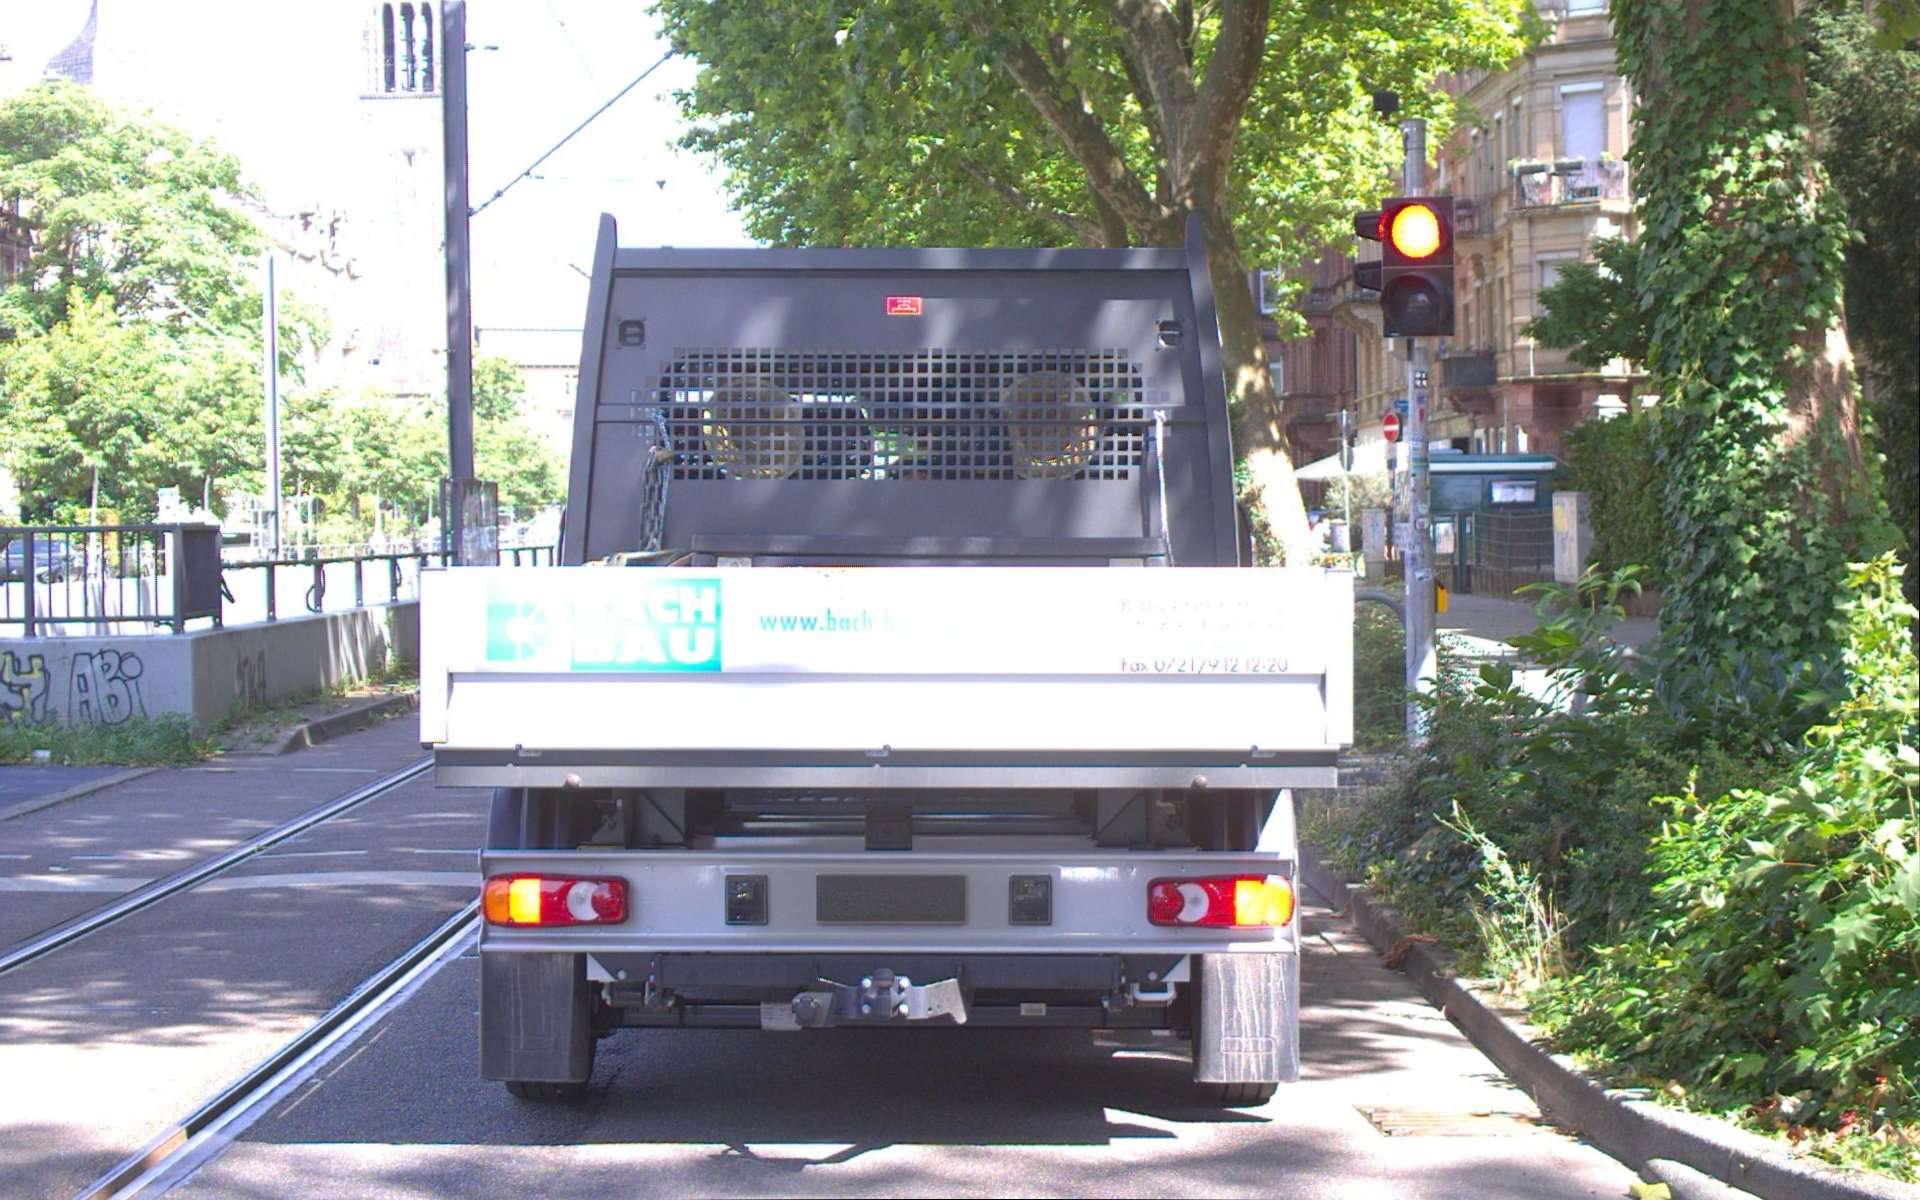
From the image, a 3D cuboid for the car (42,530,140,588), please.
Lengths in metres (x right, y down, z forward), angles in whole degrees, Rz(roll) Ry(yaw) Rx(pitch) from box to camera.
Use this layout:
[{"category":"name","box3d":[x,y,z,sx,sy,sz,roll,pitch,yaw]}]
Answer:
[{"category":"car","box3d":[-23.805,-1.141,94.302,1.770,1.493,4.001,-1,1,-2]}]

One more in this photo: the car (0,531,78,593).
[{"category":"car","box3d":[-23.537,-0.964,86.467,1.770,1.493,4.001,-1,1,-2]}]

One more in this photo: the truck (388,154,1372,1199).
[{"category":"truck","box3d":[-0.168,0.134,9.697,2.138,2.311,4.402,0,1,0]}]
